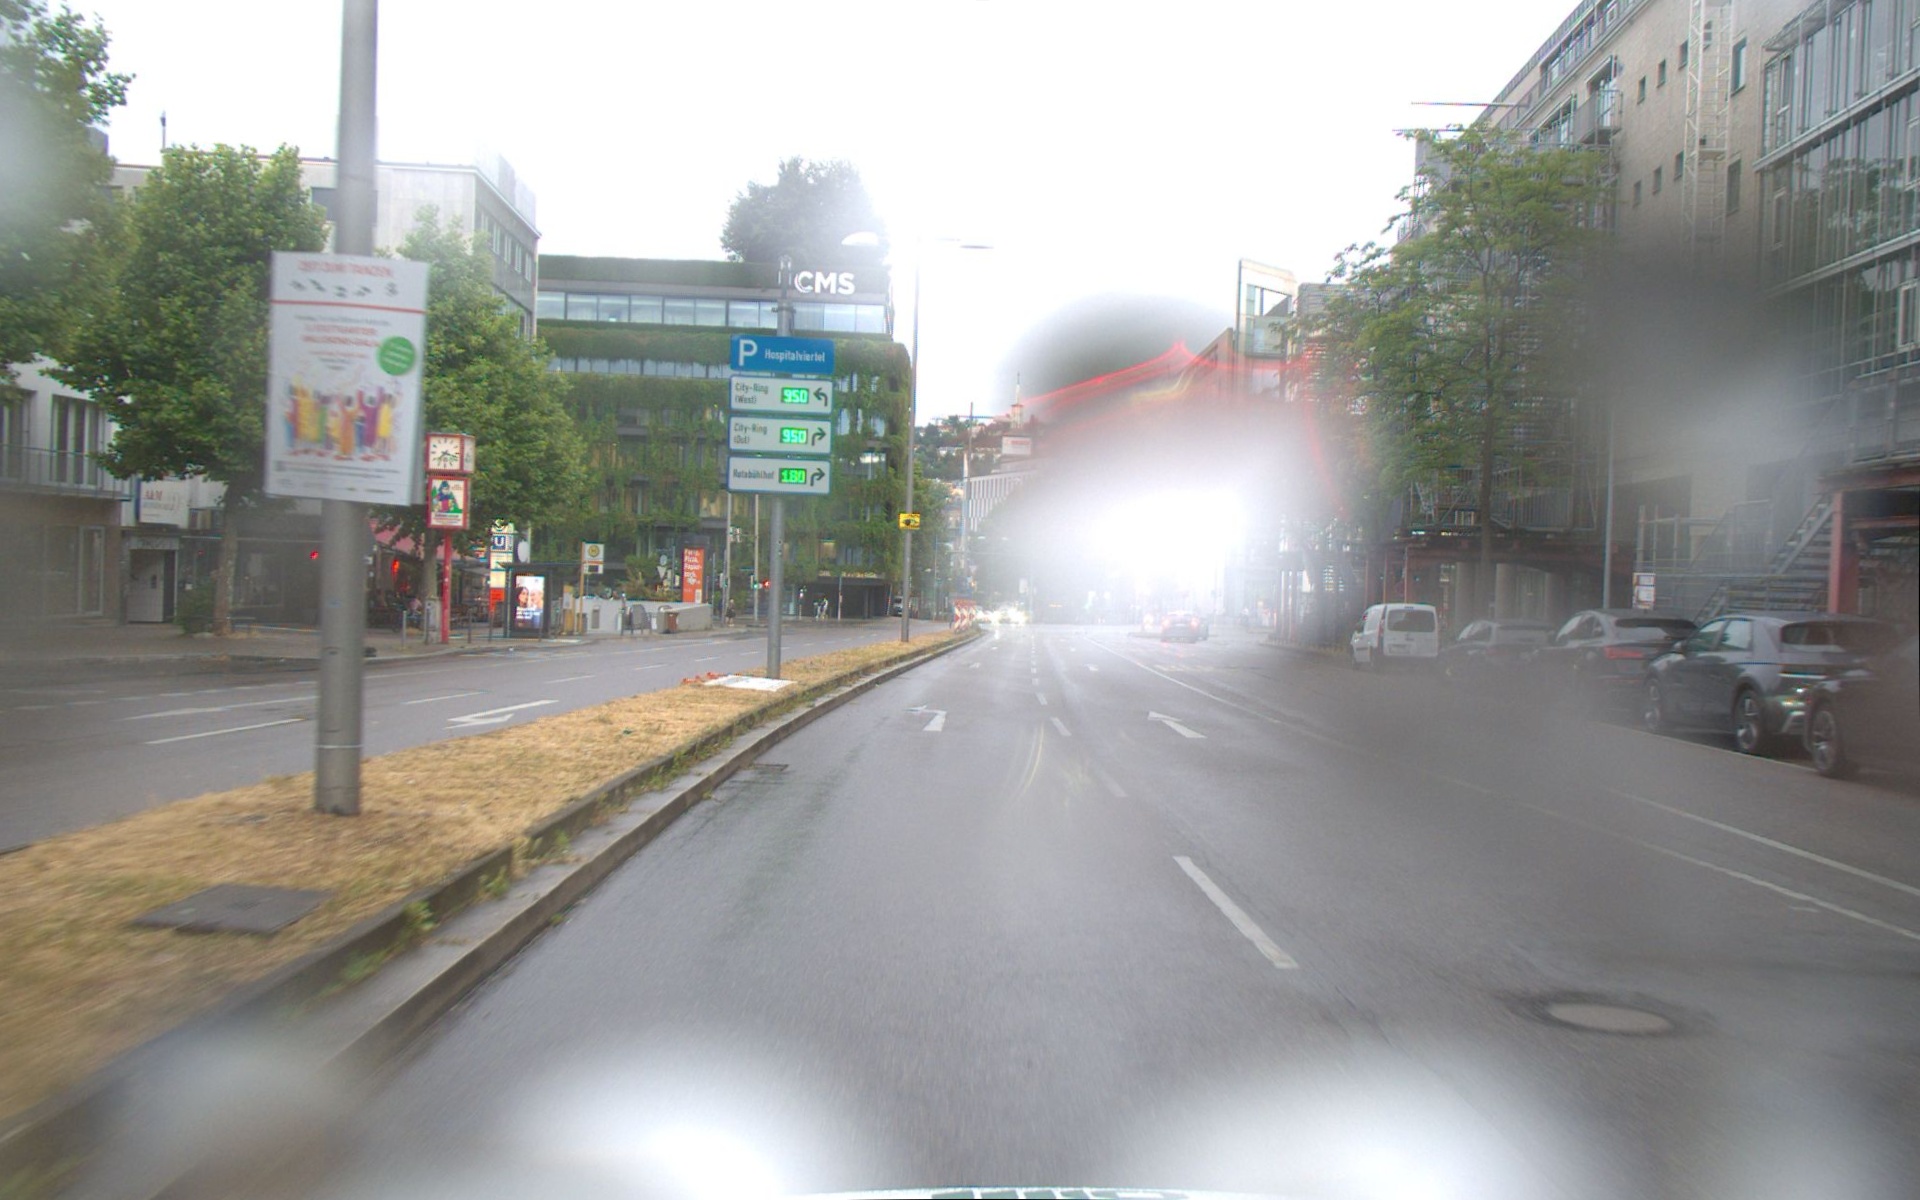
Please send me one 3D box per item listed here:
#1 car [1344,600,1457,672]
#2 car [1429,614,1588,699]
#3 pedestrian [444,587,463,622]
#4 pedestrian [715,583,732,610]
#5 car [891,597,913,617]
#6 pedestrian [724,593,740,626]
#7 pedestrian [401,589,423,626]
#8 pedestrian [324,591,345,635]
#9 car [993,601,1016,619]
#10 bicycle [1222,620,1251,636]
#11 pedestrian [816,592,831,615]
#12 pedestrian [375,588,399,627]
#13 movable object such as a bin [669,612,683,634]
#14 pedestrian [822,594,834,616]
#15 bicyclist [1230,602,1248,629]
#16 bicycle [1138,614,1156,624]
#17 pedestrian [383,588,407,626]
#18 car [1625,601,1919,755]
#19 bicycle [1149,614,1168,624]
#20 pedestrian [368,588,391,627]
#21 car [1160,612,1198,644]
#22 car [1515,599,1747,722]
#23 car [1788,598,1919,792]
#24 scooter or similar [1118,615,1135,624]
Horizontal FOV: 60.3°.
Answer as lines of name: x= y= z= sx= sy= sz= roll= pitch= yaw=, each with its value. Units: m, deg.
car: x=11.655 y=0.914 z=44.060 sx=1.952 sy=1.780 sz=4.528 roll=1 pitch=0 yaw=3
car: x=10.607 y=1.030 z=32.338 sx=1.829 sy=1.462 sz=4.924 roll=1 pitch=0 yaw=5
pedestrian: x=-21.785 y=0.190 z=71.138 sx=0.590 sy=1.476 sz=0.588 roll=2 pitch=0 yaw=-3
pedestrian: x=-14.672 y=-0.235 z=102.602 sx=0.901 sy=1.613 sz=0.834 roll=-3 pitch=0 yaw=-2
car: x=-5.511 y=0.667 z=157.952 sx=1.953 sy=1.928 sz=4.463 roll=1 pitch=0 yaw=-1
pedestrian: x=-13.525 y=0.569 z=98.142 sx=0.789 sy=1.918 sz=0.866 roll=-3 pitch=0 yaw=-4
pedestrian: x=-22.024 y=0.287 z=66.492 sx=0.620 sy=1.476 sz=0.691 roll=2 pitch=0 yaw=-4
pedestrian: x=-23.171 y=0.478 z=61.292 sx=0.584 sy=1.598 sz=0.604 roll=1 pitch=-1 yaw=-7
car: x=4.024 y=0.890 z=147.783 sx=1.952 sy=1.577 sz=4.557 roll=1 pitch=0 yaw=3
bicycle: x=21.258 y=2.157 z=127.139 sx=0.785 sy=1.136 sz=2.225 roll=2 pitch=0 yaw=-37
pedestrian: x=-10.935 y=0.296 z=132.619 sx=0.921 sy=1.788 sz=1.165 roll=1 pitch=0 yaw=-21
pedestrian: x=-22.203 y=0.286 z=64.073 sx=0.675 sy=1.476 sz=0.583 roll=1 pitch=0 yaw=0
movable object such as a bin: x=-11.901 y=0.956 z=69.252 sx=0.521 sy=0.913 sz=0.681 roll=0 pitch=0 yaw=-7
pedestrian: x=-10.629 y=0.417 z=132.877 sx=0.730 sy=1.788 sz=0.970 roll=1 pitch=0 yaw=-21
bicyclist: x=21.422 y=1.206 z=126.950 sx=0.785 sy=2.009 sz=1.099 roll=2 pitch=-1 yaw=-37
bicycle: x=18.201 y=1.821 z=161.219 sx=1.756 sy=0.950 sz=0.476 roll=1 pitch=0 yaw=5
pedestrian: x=-22.240 y=0.274 z=65.121 sx=0.712 sy=1.476 sz=0.691 roll=2 pitch=0 yaw=-4
car: x=9.871 y=0.845 z=20.184 sx=1.822 sy=1.629 sz=4.594 roll=1 pitch=0 yaw=3
bicycle: x=18.607 y=1.780 z=155.013 sx=1.770 sy=0.950 sz=0.472 roll=1 pitch=0 yaw=44
pedestrian: x=-22.256 y=0.300 z=63.431 sx=0.675 sy=1.476 sz=0.547 roll=2 pitch=0 yaw=-2
car: x=11.315 y=1.419 z=85.587 sx=1.741 sy=1.567 sz=4.149 roll=1 pitch=0 yaw=5
car: x=10.192 y=0.848 z=25.553 sx=1.951 sy=1.675 sz=4.865 roll=1 pitch=0 yaw=5
car: x=9.059 y=0.816 z=13.949 sx=1.951 sy=1.629 sz=5.292 roll=1 pitch=0 yaw=6
scooter or similar: x=16.963 y=1.959 z=168.434 sx=1.718 sy=0.894 sz=0.487 roll=1 pitch=-1 yaw=-17
